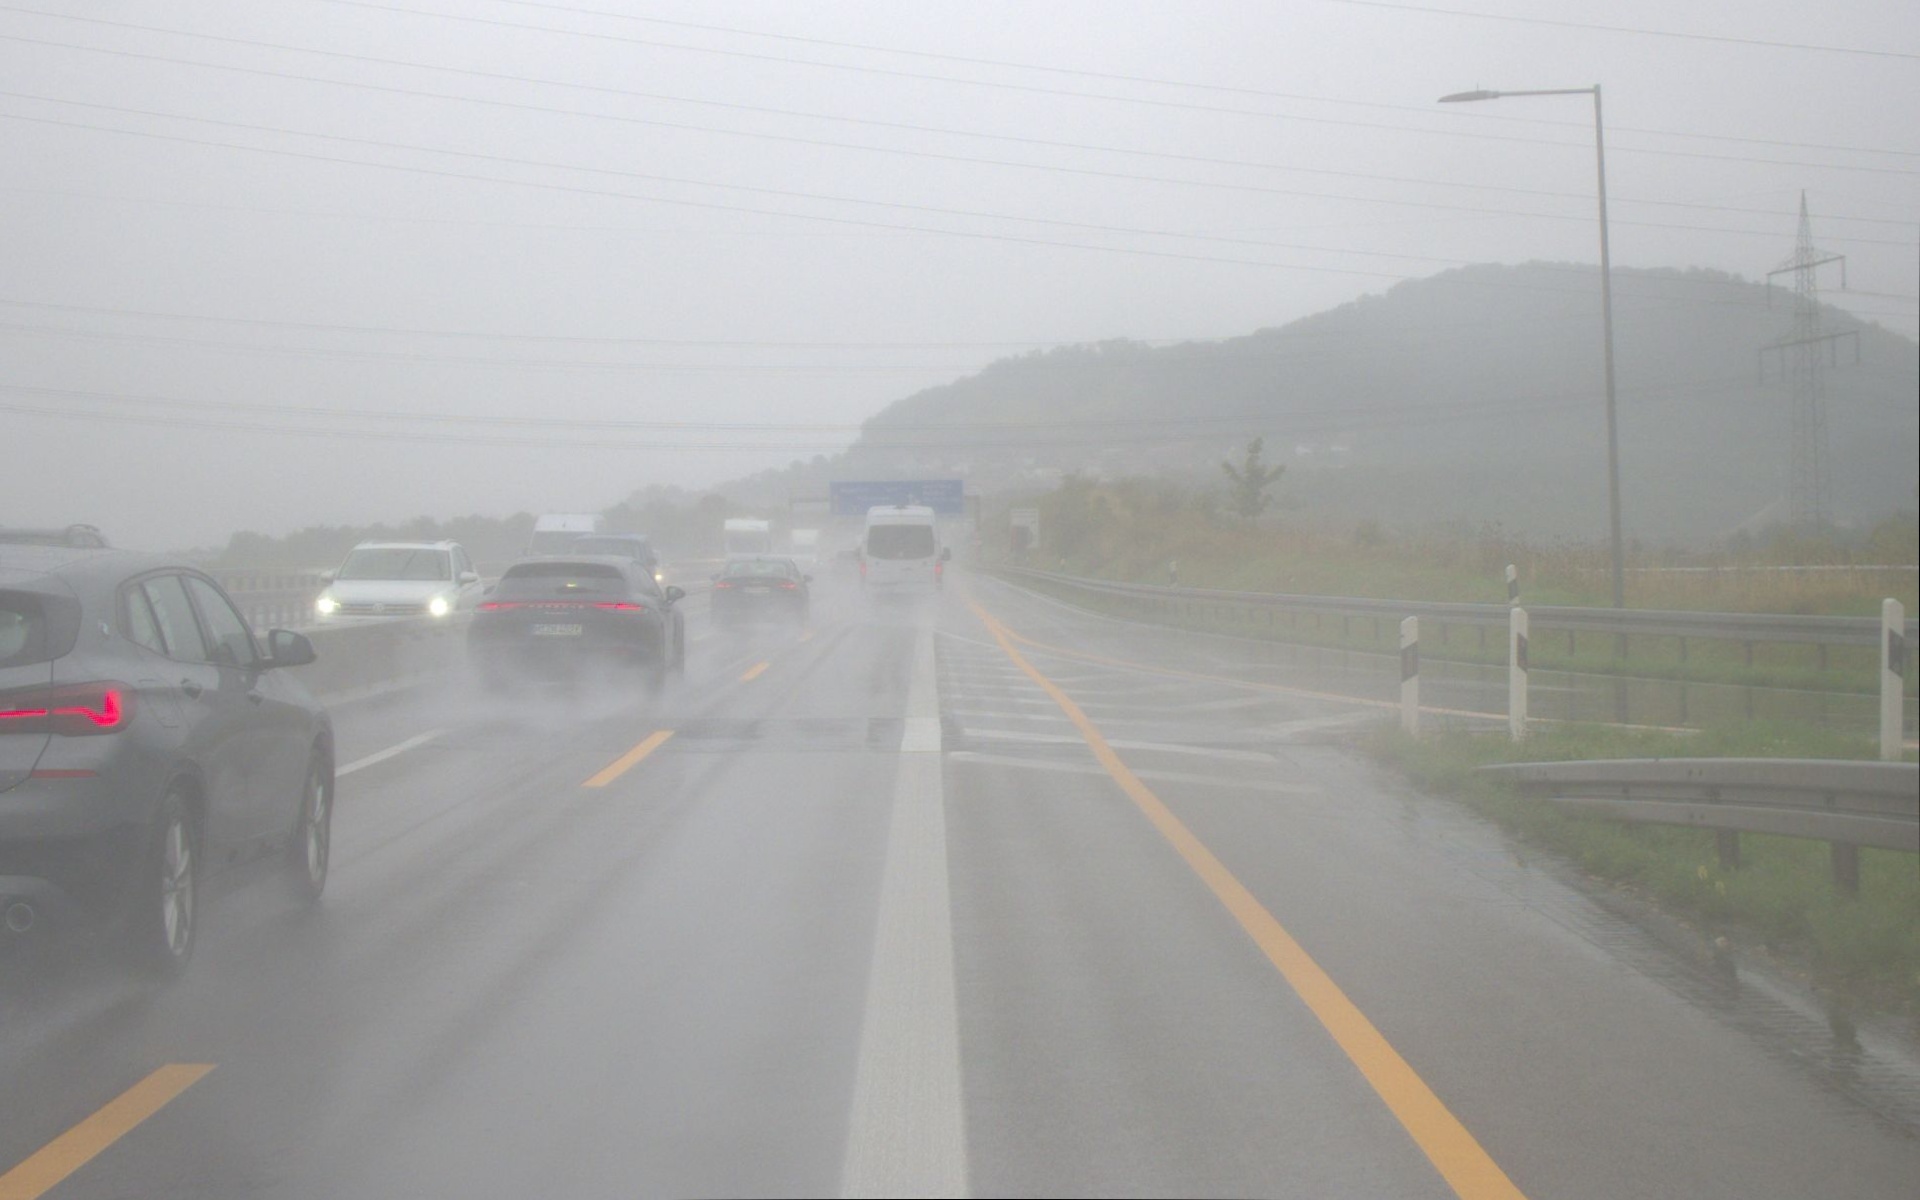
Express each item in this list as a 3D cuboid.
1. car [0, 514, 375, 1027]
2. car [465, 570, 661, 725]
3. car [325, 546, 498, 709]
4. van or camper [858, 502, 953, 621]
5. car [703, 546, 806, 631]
[{"bbox_3d":[-3.484,0.542,13.106,1.701,1.592,4.845,1,-1,0],"label":"car"},{"bbox_3d":[-4.044,0.483,35.565,1.844,1.486,4.262,1,-1,-4],"label":"car"},{"bbox_3d":[-7.440,0.327,46.950,1.835,2.006,4.001,1,2,-2],"label":"car"},{"bbox_3d":[-1.335,-0.888,82.729,1.996,2.768,4.050,1,-1,-4],"label":"van or camper"},{"bbox_3d":[-3.913,-0.247,65.426,1.844,1.486,4.262,-2,1,-4],"label":"car"}]
